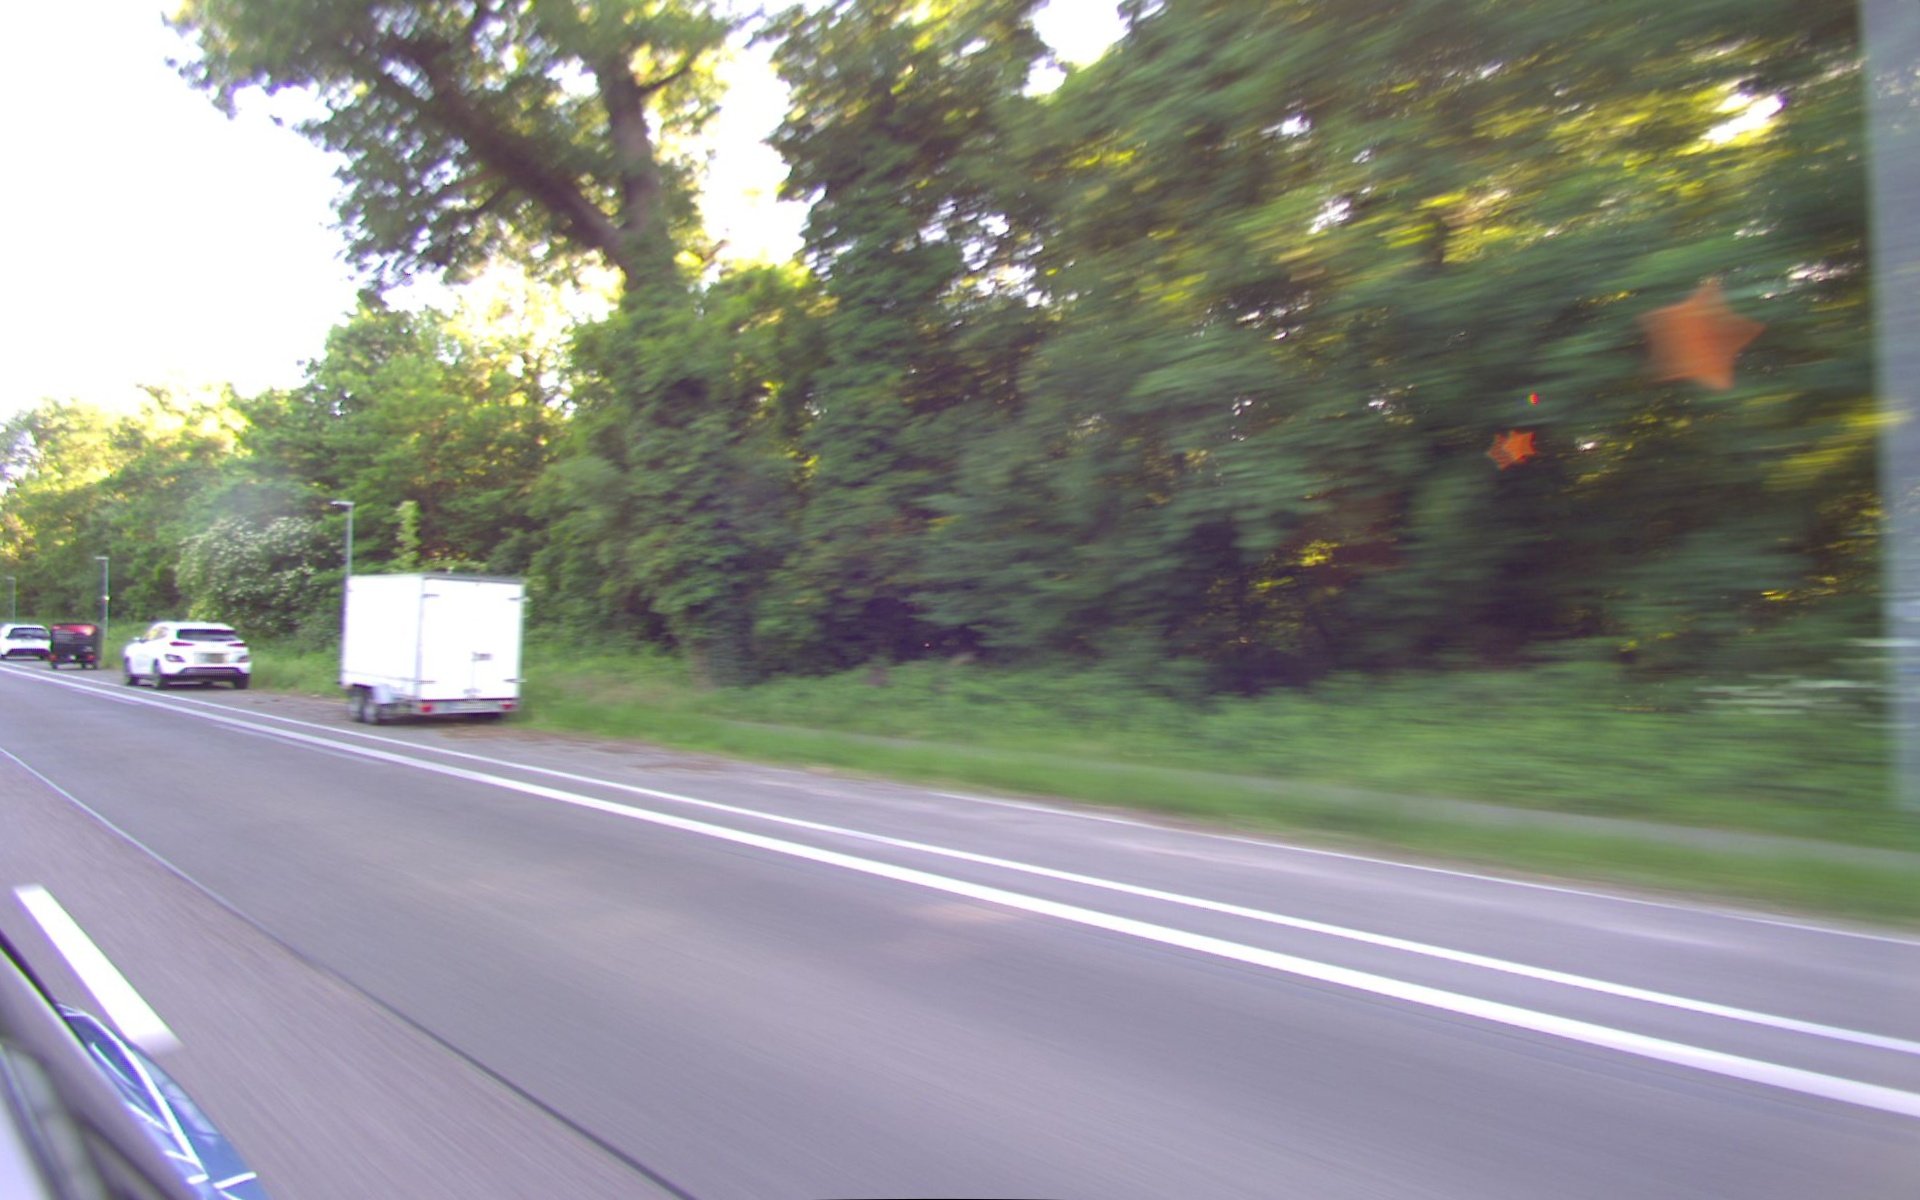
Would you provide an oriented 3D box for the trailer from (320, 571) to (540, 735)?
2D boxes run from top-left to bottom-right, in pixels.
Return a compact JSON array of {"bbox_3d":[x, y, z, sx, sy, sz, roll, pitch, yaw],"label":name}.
[{"bbox_3d":[-8.547,0.801,16.228,3.486,2.311,2.052,-1,-3,43],"label":"trailer"}]

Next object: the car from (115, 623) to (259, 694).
[{"bbox_3d":[-18.887,1.396,24.675,4.202,1.583,1.796,-2,-4,39],"label":"car"}]

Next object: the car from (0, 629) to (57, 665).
[{"bbox_3d":[-39.900,1.970,42.908,4.069,1.462,1.847,-1,-4,41],"label":"car"}]

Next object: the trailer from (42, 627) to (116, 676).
[{"bbox_3d":[-29.938,1.704,34.458,1.376,1.586,2.683,0,-1,-29],"label":"trailer"}]
